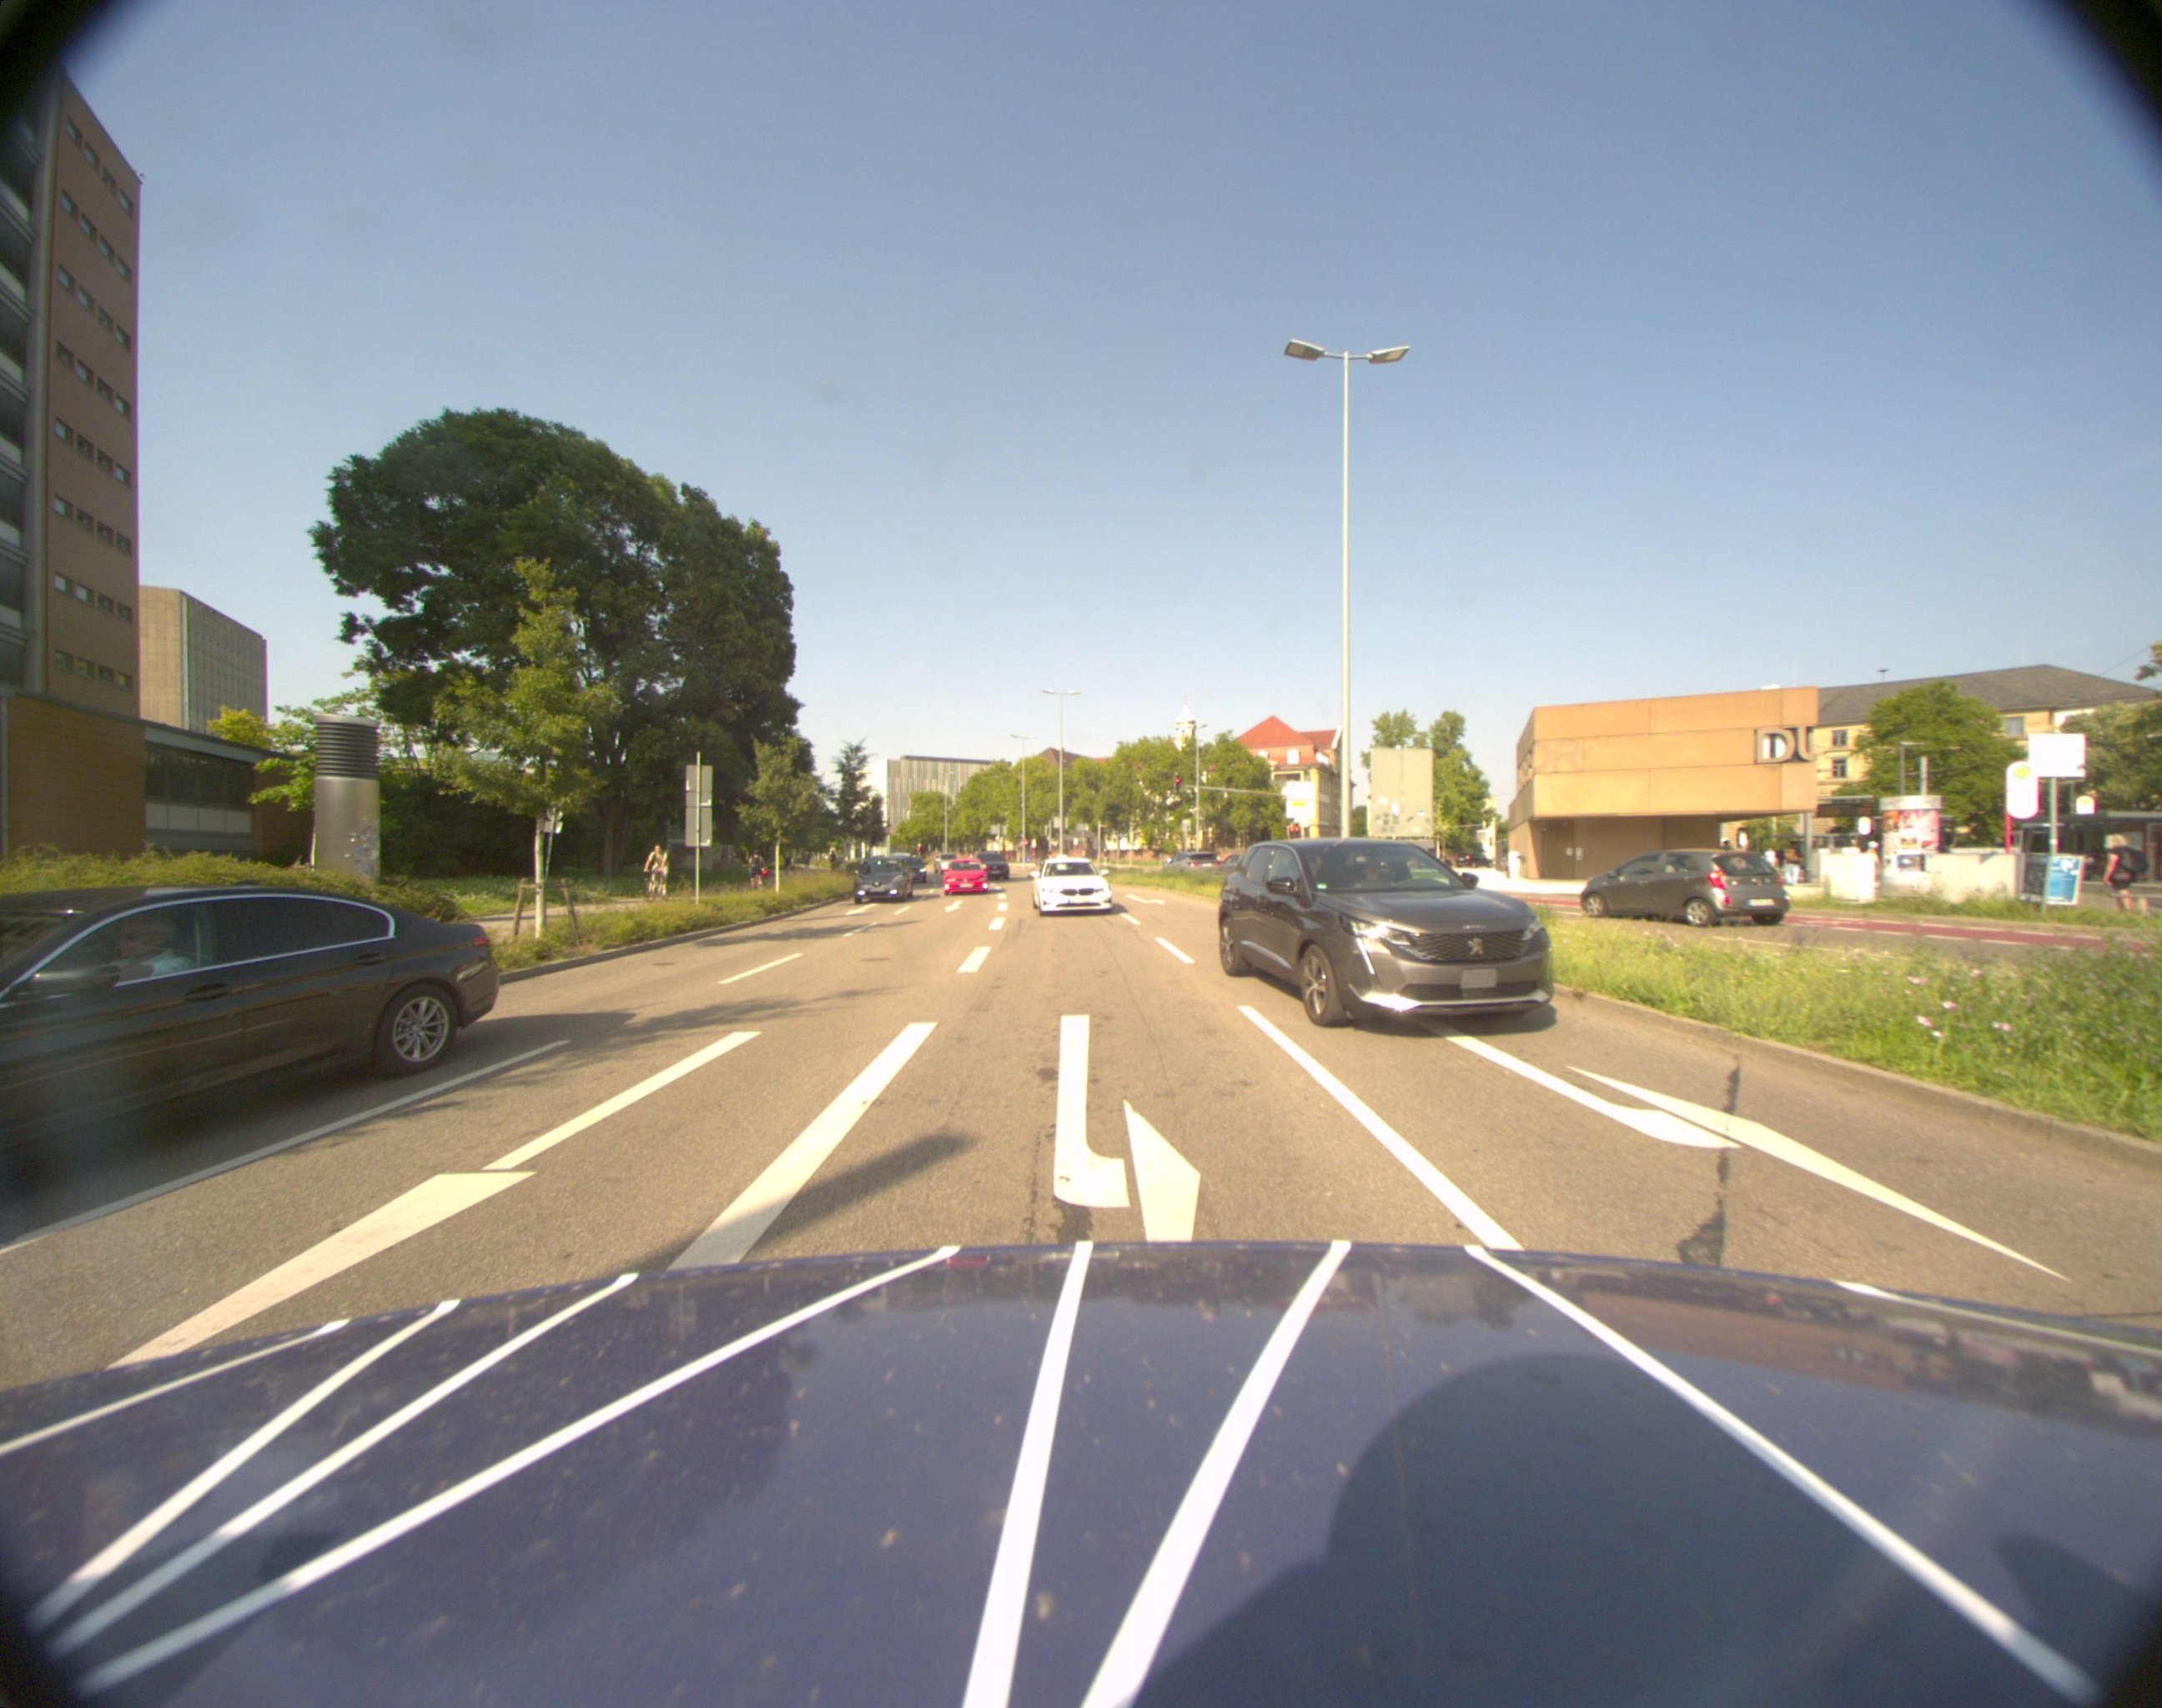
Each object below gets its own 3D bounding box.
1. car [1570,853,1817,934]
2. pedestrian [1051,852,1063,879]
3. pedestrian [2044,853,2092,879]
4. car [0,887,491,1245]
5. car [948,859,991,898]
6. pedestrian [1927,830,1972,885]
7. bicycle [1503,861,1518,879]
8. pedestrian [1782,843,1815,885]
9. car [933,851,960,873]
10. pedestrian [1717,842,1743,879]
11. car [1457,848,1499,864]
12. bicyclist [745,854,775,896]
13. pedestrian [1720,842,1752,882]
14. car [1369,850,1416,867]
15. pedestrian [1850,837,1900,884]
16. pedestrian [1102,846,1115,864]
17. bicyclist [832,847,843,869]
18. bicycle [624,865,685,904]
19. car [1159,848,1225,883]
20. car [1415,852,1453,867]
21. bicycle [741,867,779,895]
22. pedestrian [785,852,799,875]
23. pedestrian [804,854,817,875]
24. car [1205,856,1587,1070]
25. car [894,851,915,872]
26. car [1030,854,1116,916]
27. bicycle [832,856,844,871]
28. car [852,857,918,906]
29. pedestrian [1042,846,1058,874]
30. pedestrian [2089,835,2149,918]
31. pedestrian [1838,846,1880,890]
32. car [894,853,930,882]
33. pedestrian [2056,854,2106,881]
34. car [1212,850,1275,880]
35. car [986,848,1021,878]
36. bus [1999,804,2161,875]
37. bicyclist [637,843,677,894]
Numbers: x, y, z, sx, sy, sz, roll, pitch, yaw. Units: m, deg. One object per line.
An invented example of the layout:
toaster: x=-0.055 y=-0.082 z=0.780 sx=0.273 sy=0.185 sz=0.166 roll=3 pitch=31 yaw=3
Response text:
car: x=12.175 y=0.704 z=15.463 sx=1.894 sy=1.443 sz=3.673 roll=0 pitch=0 yaw=-5
pedestrian: x=-1.495 y=0.719 z=47.364 sx=0.669 sy=1.689 sz=0.691 roll=0 pitch=1 yaw=-12
pedestrian: x=42.722 y=0.519 z=32.903 sx=1.028 sy=1.126 sz=0.739 roll=0 pitch=1 yaw=19
car: x=-5.703 y=1.028 z=3.921 sx=1.687 sy=1.483 sz=4.672 roll=-1 pitch=0 yaw=-1
car: x=-4.743 y=0.979 z=32.085 sx=1.688 sy=1.483 sz=4.368 roll=0 pitch=0 yaw=-9
pedestrian: x=28.465 y=0.116 z=24.911 sx=0.699 sy=1.790 sz=0.781 roll=0 pitch=1 yaw=25
bicycle: x=21.256 y=0.767 z=37.605 sx=0.591 sy=0.833 sz=1.550 roll=-3 pitch=-1 yaw=28
pedestrian: x=28.192 y=0.372 z=29.868 sx=0.717 sy=1.621 sz=0.858 roll=0 pitch=1 yaw=26
car: x=-11.416 y=0.663 z=64.247 sx=1.785 sy=1.710 sz=4.528 roll=-3 pitch=0 yaw=-15
pedestrian: x=30.549 y=0.283 z=35.750 sx=0.717 sy=1.727 sz=0.858 roll=0 pitch=1 yaw=26
car: x=42.083 y=0.234 z=80.549 sx=4.379 sy=1.623 sz=1.995 roll=0 pitch=0 yaw=-31
bicyclist: x=-11.610 y=0.746 z=27.482 sx=0.721 sy=1.504 sz=1.004 roll=0 pitch=1 yaw=-5
pedestrian: x=28.523 y=0.351 z=33.091 sx=0.864 sy=1.695 sz=0.733 roll=0 pitch=1 yaw=23
car: x=30.501 y=0.414 z=74.386 sx=4.379 sy=1.624 sz=1.995 roll=0 pitch=0 yaw=-30
pedestrian: x=28.949 y=0.227 z=27.709 sx=0.990 sy=1.663 sz=0.865 roll=0 pitch=1 yaw=-14
pedestrian: x=3.139 y=0.070 z=87.031 sx=1.080 sy=2.002 sz=1.316 roll=-1 pitch=1 yaw=-21
bicyclist: x=-18.767 y=0.293 z=58.621 sx=0.774 sy=1.666 sz=0.923 roll=-1 pitch=1 yaw=-15
bicycle: x=-13.481 y=0.944 z=24.099 sx=0.773 sy=1.111 sz=2.302 roll=-1 pitch=0 yaw=-5
car: x=5.356 y=0.502 z=37.226 sx=1.700 sy=1.608 sz=4.456 roll=0 pitch=0 yaw=-12
car: x=36.069 y=0.550 z=77.696 sx=3.856 sy=1.489 sz=1.621 roll=-1 pitch=1 yaw=-31
bicycle: x=-11.610 y=0.961 z=27.537 sx=0.721 sy=0.954 sz=1.920 roll=0 pitch=0 yaw=-5
pedestrian: x=-18.390 y=0.606 z=48.314 sx=0.727 sy=1.435 sz=0.856 roll=0 pitch=1 yaw=-15
pedestrian: x=-23.630 y=0.934 z=66.315 sx=0.961 sy=1.772 sz=1.001 roll=2 pitch=0 yaw=-14
car: x=2.618 y=0.772 z=7.592 sx=1.687 sy=1.483 sz=4.370 roll=0 pitch=0 yaw=-5
car: x=-16.201 y=0.670 z=69.733 sx=1.689 sy=1.930 sz=4.366 roll=0 pitch=0 yaw=-15
car: x=-0.329 y=0.733 z=20.486 sx=1.784 sy=1.474 sz=4.530 roll=0 pitch=0 yaw=-8
bicycle: x=-18.760 y=0.741 z=58.615 sx=0.774 sy=1.111 sz=2.300 roll=-1 pitch=0 yaw=-15
car: x=-7.176 y=0.959 z=28.183 sx=1.783 sy=1.596 sz=4.418 roll=-3 pitch=0 yaw=-8
pedestrian: x=-1.808 y=0.362 z=44.575 sx=0.667 sy=1.644 sz=0.780 roll=0 pitch=1 yaw=24
pedestrian: x=22.956 y=0.474 z=16.823 sx=0.782 sy=1.790 sz=0.699 roll=-1 pitch=1 yaw=-41
pedestrian: x=27.823 y=0.498 z=27.190 sx=0.863 sy=1.550 sz=0.992 roll=0 pitch=1 yaw=34
car: x=-10.032 y=0.811 z=45.242 sx=1.941 sy=1.597 sz=4.528 roll=-1 pitch=0 yaw=-12
pedestrian: x=42.284 y=0.547 z=32.150 sx=1.028 sy=1.126 sz=0.739 roll=0 pitch=1 yaw=19
car: x=8.374 y=0.533 z=39.443 sx=1.819 sy=1.425 sz=4.221 roll=0 pitch=0 yaw=-9
car: x=-4.863 y=0.576 z=46.958 sx=1.784 sy=1.682 sz=4.530 roll=-3 pitch=0 yaw=-9
bus: x=48.502 y=-0.638 z=34.887 sx=3.290 sy=2.960 sz=12.820 roll=0 pitch=0 yaw=27
bicyclist: x=-13.504 y=0.456 z=24.221 sx=0.773 sy=1.584 sz=0.923 roll=-1 pitch=1 yaw=-5
